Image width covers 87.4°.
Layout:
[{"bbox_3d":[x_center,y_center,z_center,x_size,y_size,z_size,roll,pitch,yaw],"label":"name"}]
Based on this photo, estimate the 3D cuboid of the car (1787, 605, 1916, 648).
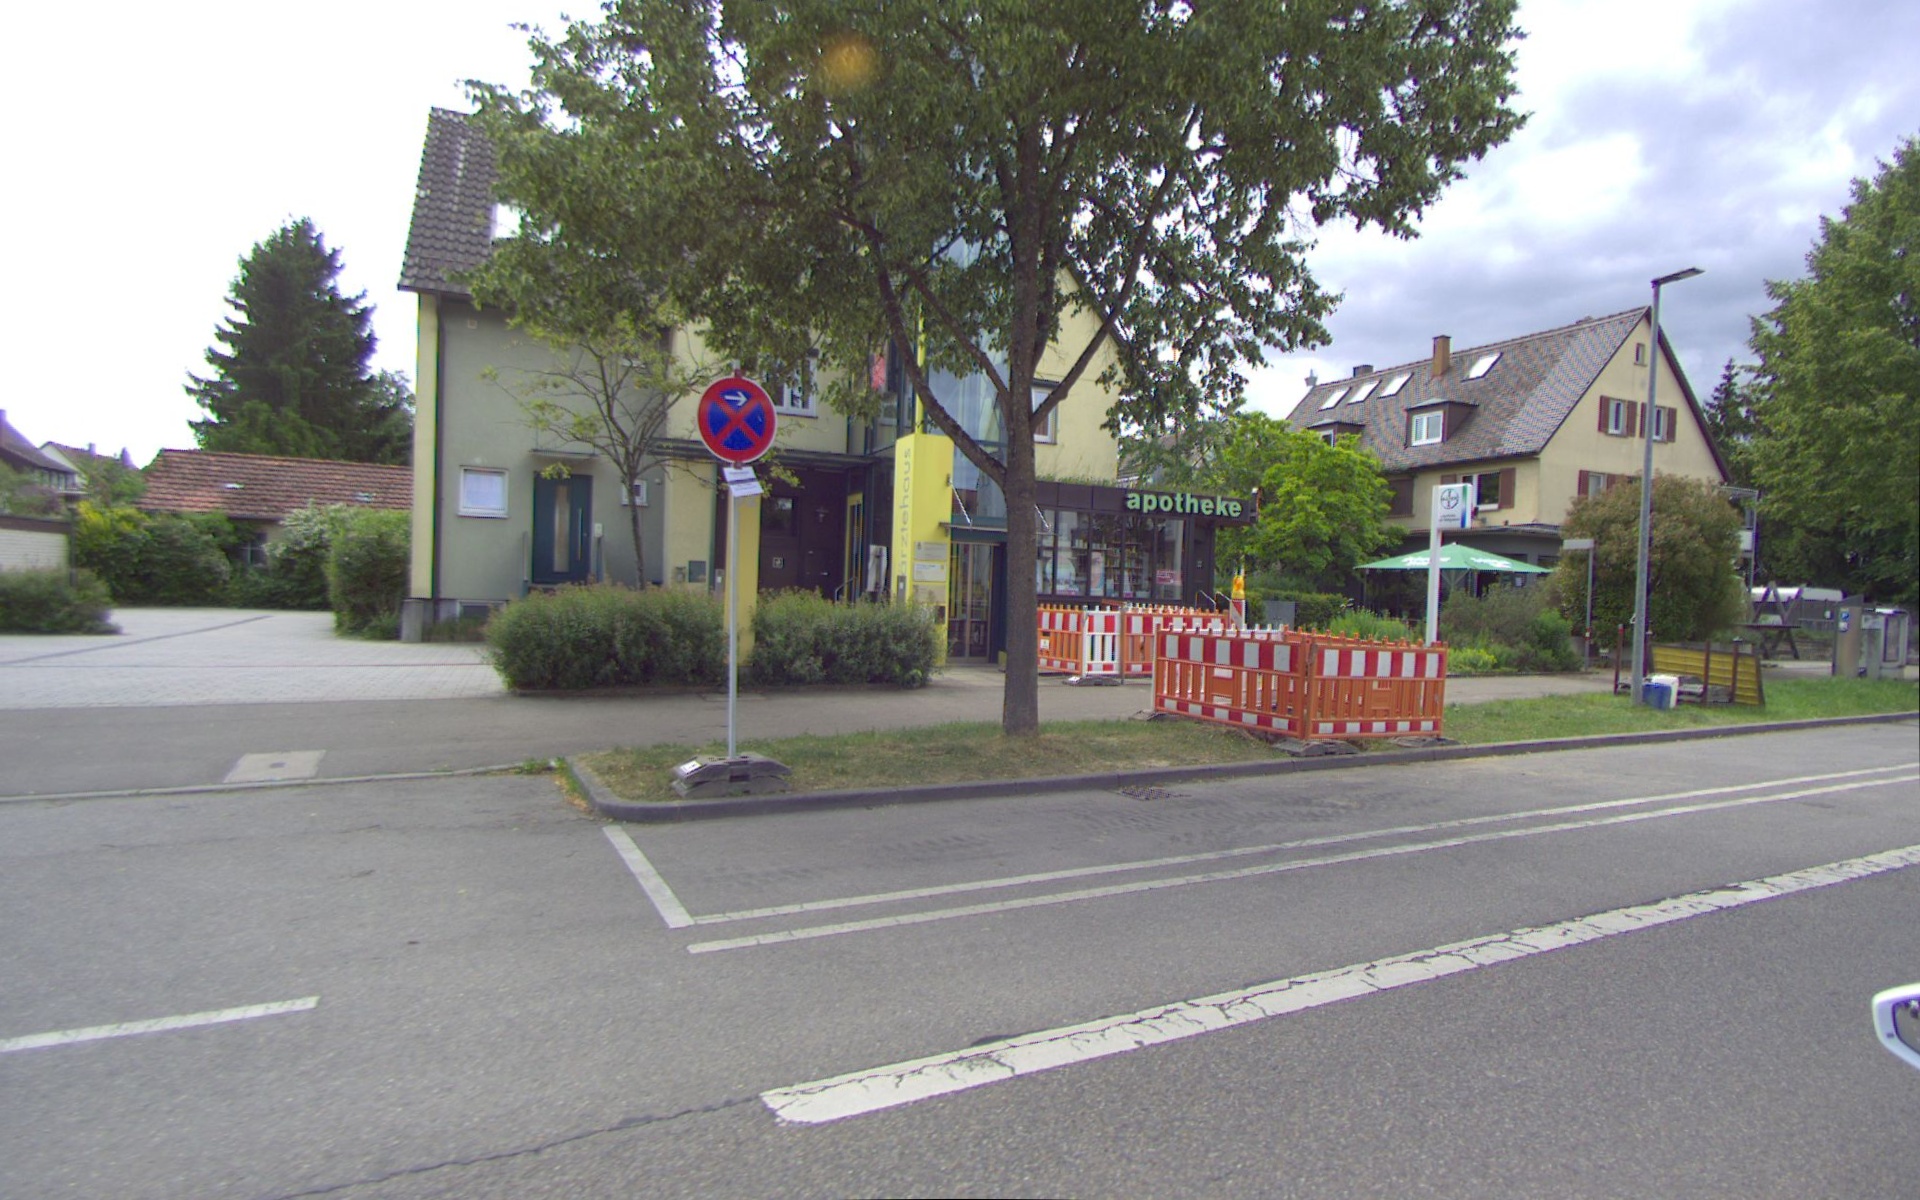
[{"bbox_3d":[40.096,1.162,45.299,1.721,1.793,3.977,2,0,-23],"label":"car"}]
